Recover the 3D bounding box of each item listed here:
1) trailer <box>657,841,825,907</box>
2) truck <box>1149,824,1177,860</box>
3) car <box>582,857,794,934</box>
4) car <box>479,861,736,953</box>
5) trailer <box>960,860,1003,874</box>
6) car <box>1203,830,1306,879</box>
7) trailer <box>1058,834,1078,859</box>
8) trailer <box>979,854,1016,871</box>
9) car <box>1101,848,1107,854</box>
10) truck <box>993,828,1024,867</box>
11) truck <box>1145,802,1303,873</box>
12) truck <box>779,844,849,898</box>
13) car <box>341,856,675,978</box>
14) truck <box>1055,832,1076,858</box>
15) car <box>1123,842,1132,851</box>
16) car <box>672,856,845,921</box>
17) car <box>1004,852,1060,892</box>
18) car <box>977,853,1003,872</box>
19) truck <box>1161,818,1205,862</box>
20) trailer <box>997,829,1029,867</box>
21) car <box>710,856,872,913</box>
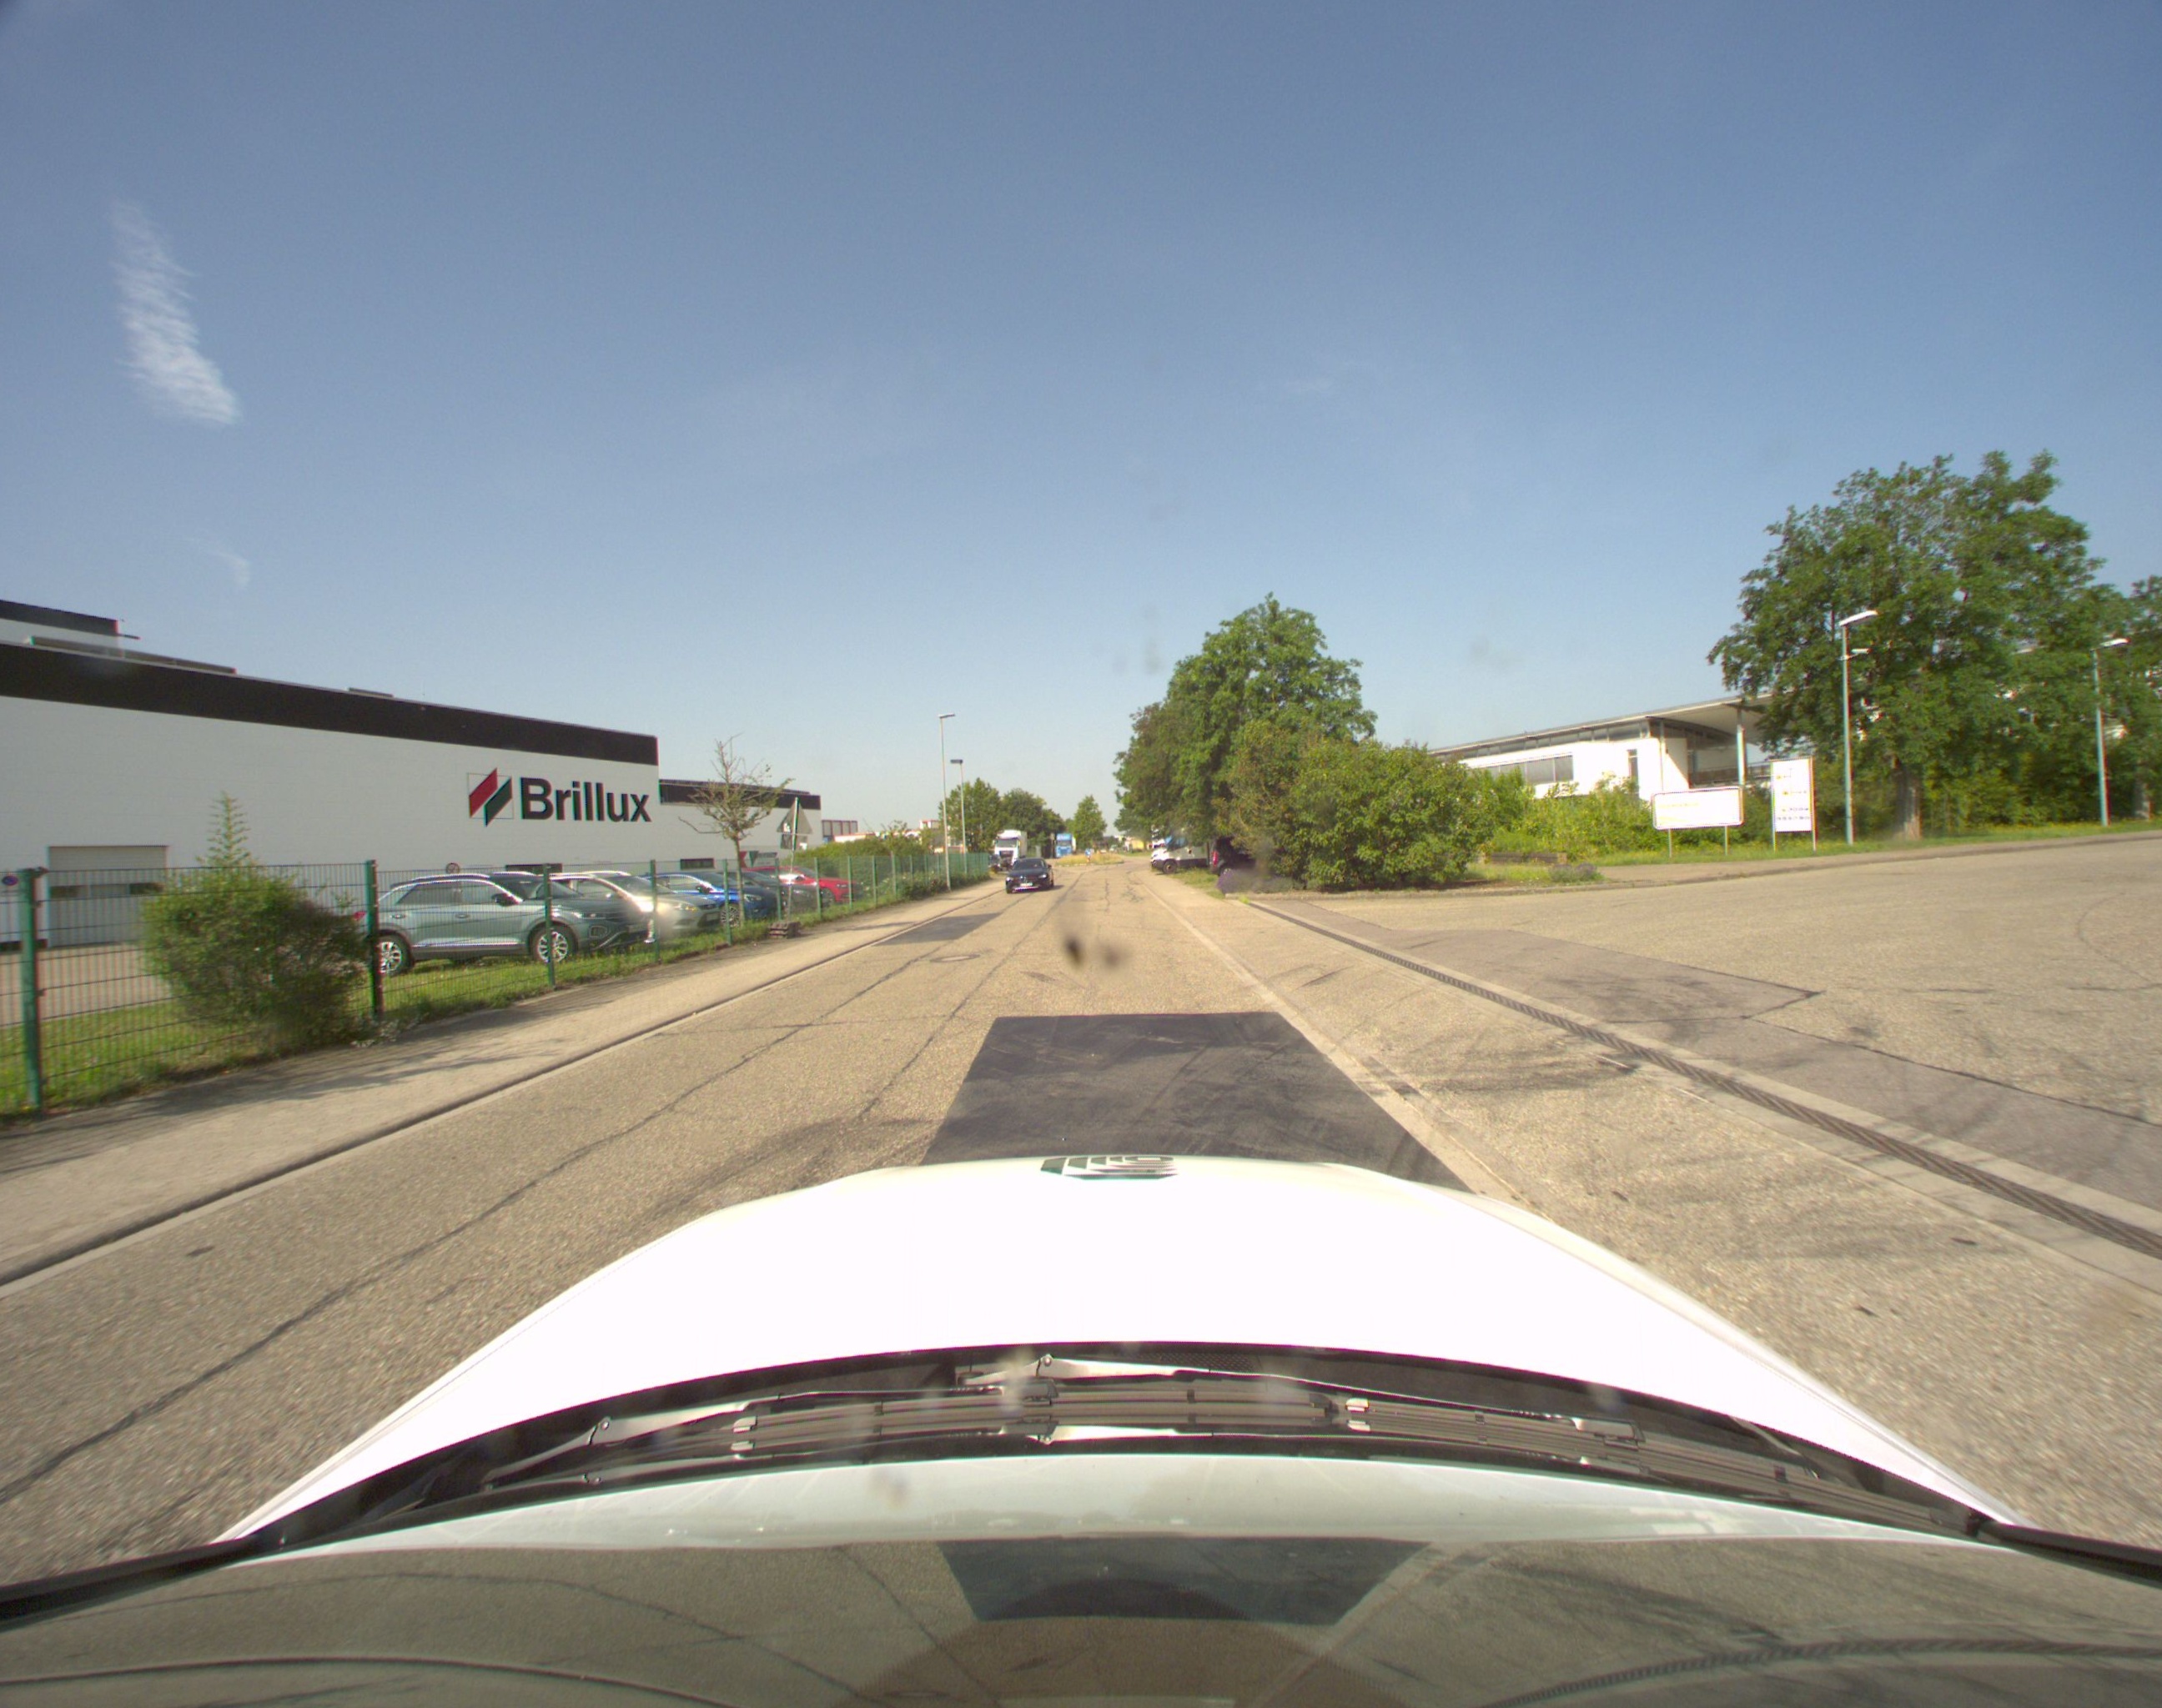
[{"bbox_3d":[-23.214,1.309,57.148,2.462,4.041,13.951,-1,-1,17],"label":"trailer"},{"bbox_3d":[9.888,-1.448,98.709,2.736,3.981,4.002,-5,0,2],"label":"truck"},{"bbox_3d":[-9.273,0.943,19.463,4.027,1.444,1.874,-4,0,0],"label":"car"},{"bbox_3d":[-9.537,1.032,16.656,4.027,1.444,1.874,-4,0,0],"label":"car"},{"bbox_3d":[-7.947,1.003,65.861,2.538,0.925,6.710,1,1,0],"label":"trailer"},{"bbox_3d":[7.350,0.016,34.806,3.971,1.837,2.001,-3,0,2],"label":"car"},{"bbox_3d":[-2.198,-1.192,139.204,2.821,3.843,12.038,-1,-1,1],"label":"trailer"},{"bbox_3d":[-8.018,0.776,78.766,2.670,1.453,5.081,-2,1,3],"label":"trailer"},{"bbox_3d":[7.198,-0.950,254.183,1.713,1.661,3.823,-1,-1,0],"label":"car"},{"bbox_3d":[-7.526,-0.650,85.284,2.699,3.922,4.297,-1,-1,1],"label":"truck"},{"bbox_3d":[7.837,-0.857,45.446,8.181,3.370,2.741,-3,-1,0],"label":"truck"},{"bbox_3d":[-20.988,1.348,64.310,2.493,4.071,5.567,-1,-1,17],"label":"truck"},{"bbox_3d":[-9.357,0.978,13.560,4.113,1.567,1.865,-4,0,0],"label":"car"},{"bbox_3d":[-2.436,-1.321,129.678,2.815,3.826,9.675,-1,-1,1],"label":"truck"},{"bbox_3d":[9.660,-1.533,170.128,1.786,1.750,4.000,-1,-1,1],"label":"car"},{"bbox_3d":[-9.036,0.936,23.062,4.027,1.444,1.874,-4,0,0],"label":"car"},{"bbox_3d":[-2.045,0.738,35.231,1.987,1.449,4.419,-5,0,0],"label":"car"},{"bbox_3d":[-8.070,0.717,72.471,1.689,1.561,4.338,0,1,2],"label":"car"},{"bbox_3d":[9.220,-1.175,74.760,2.877,3.535,9.760,-6,-1,2],"label":"truck"},{"bbox_3d":[-7.438,-0.595,89.670,2.690,3.922,7.576,-1,-1,1],"label":"trailer"},{"bbox_3d":[-9.475,0.973,26.878,4.521,1.444,1.952,-4,0,0],"label":"car"}]
